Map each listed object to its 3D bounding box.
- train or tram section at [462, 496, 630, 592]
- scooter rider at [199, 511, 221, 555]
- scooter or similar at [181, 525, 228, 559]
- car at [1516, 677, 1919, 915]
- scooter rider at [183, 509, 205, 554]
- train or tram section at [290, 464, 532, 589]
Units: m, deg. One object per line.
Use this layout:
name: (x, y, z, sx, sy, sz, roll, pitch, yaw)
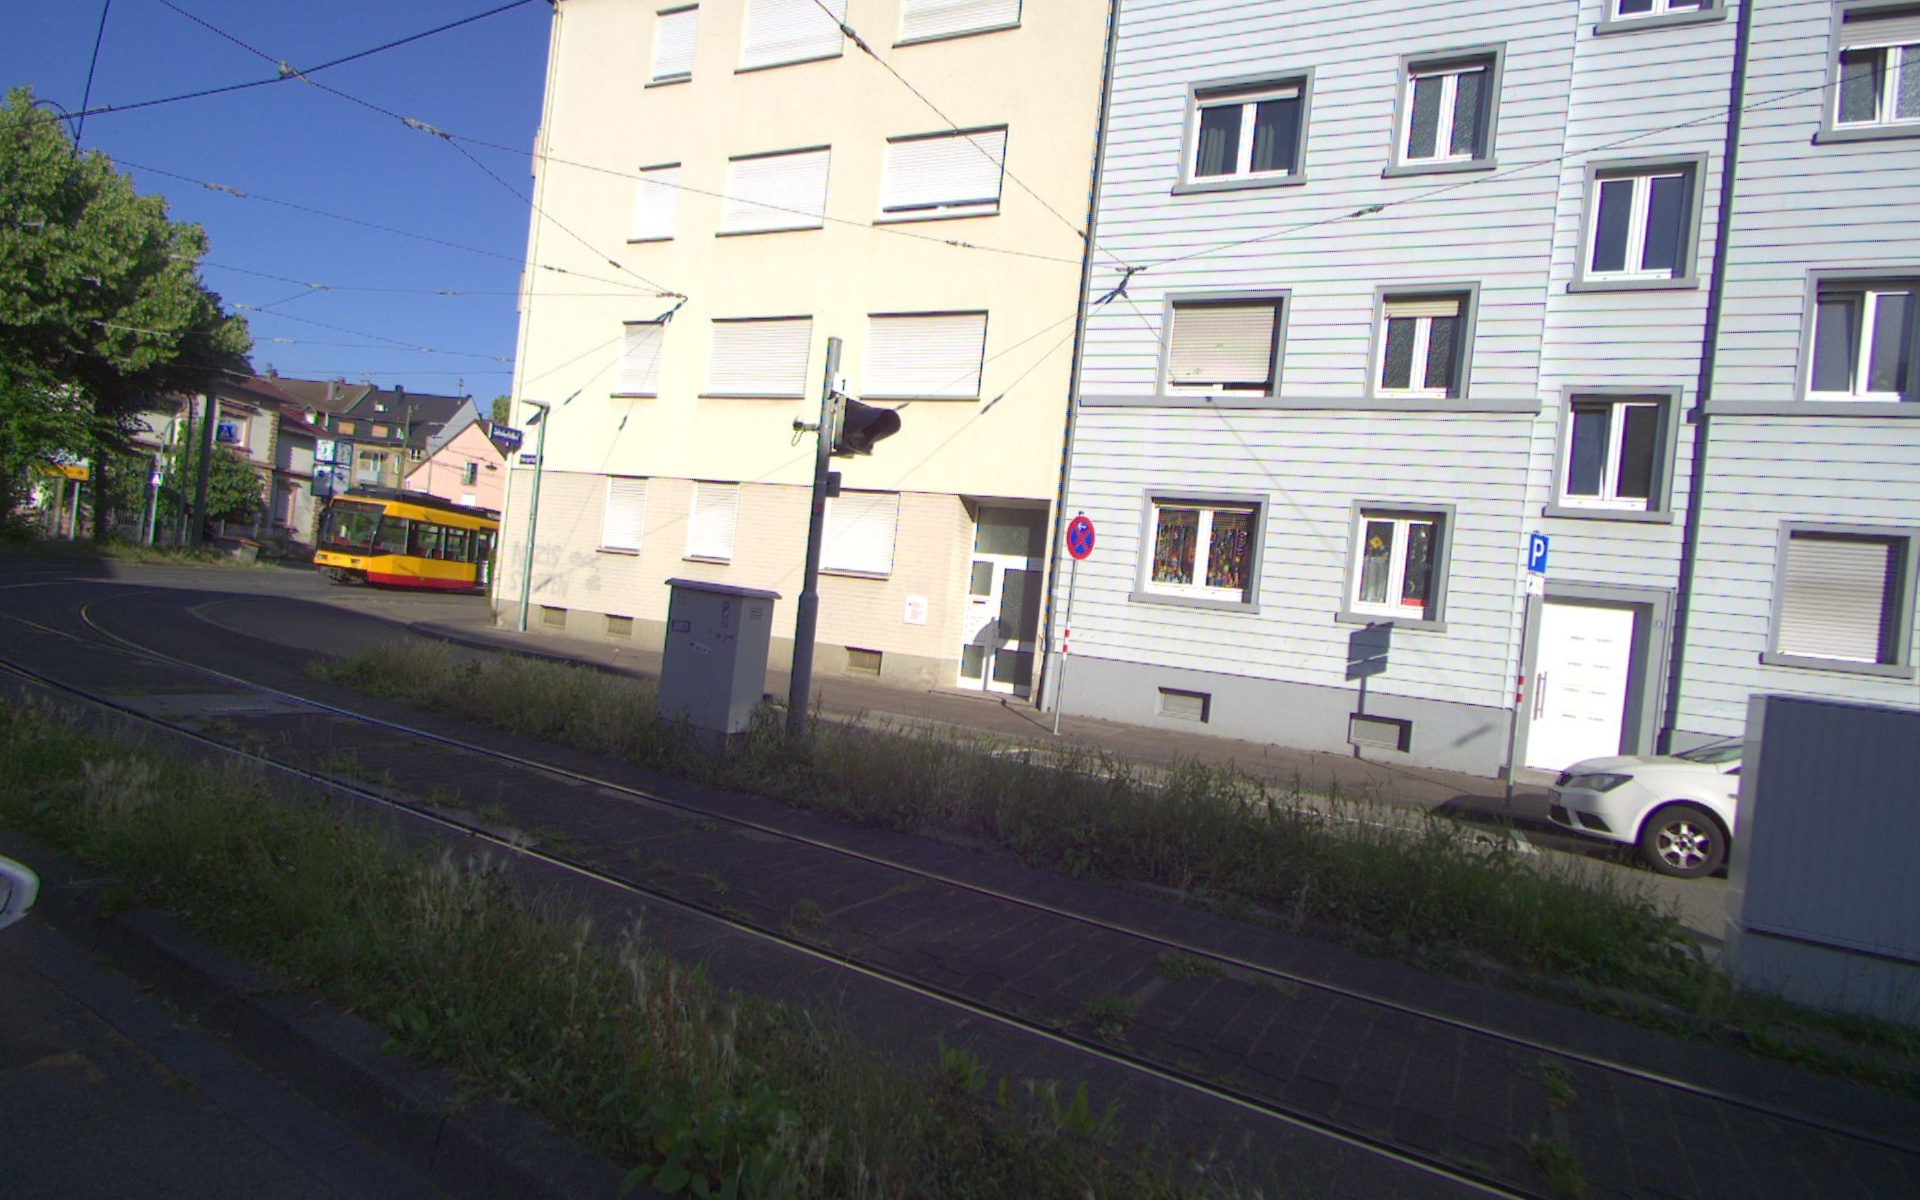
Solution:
train or tram section: (-19.084, -2.387, 47.334, 2.731, 3.600, 9.921, 6, 0, 5)
scooter rider: (-29.657, -2.652, 39.766, 0.602, 1.694, 0.648, 4, 2, -39)
scooter or similar: (-29.795, -2.290, 39.683, 1.395, 1.151, 0.677, 5, 2, -39)
car: (7.567, 1.726, 8.793, 4.364, 1.404, 1.998, 7, 2, 21)
scooter rider: (-30.051, -2.698, 39.453, 0.602, 1.694, 0.648, 4, 2, -39)
train or tram section: (-19.855, -2.439, 37.448, 2.732, 3.600, 9.920, 6, 0, 4)
